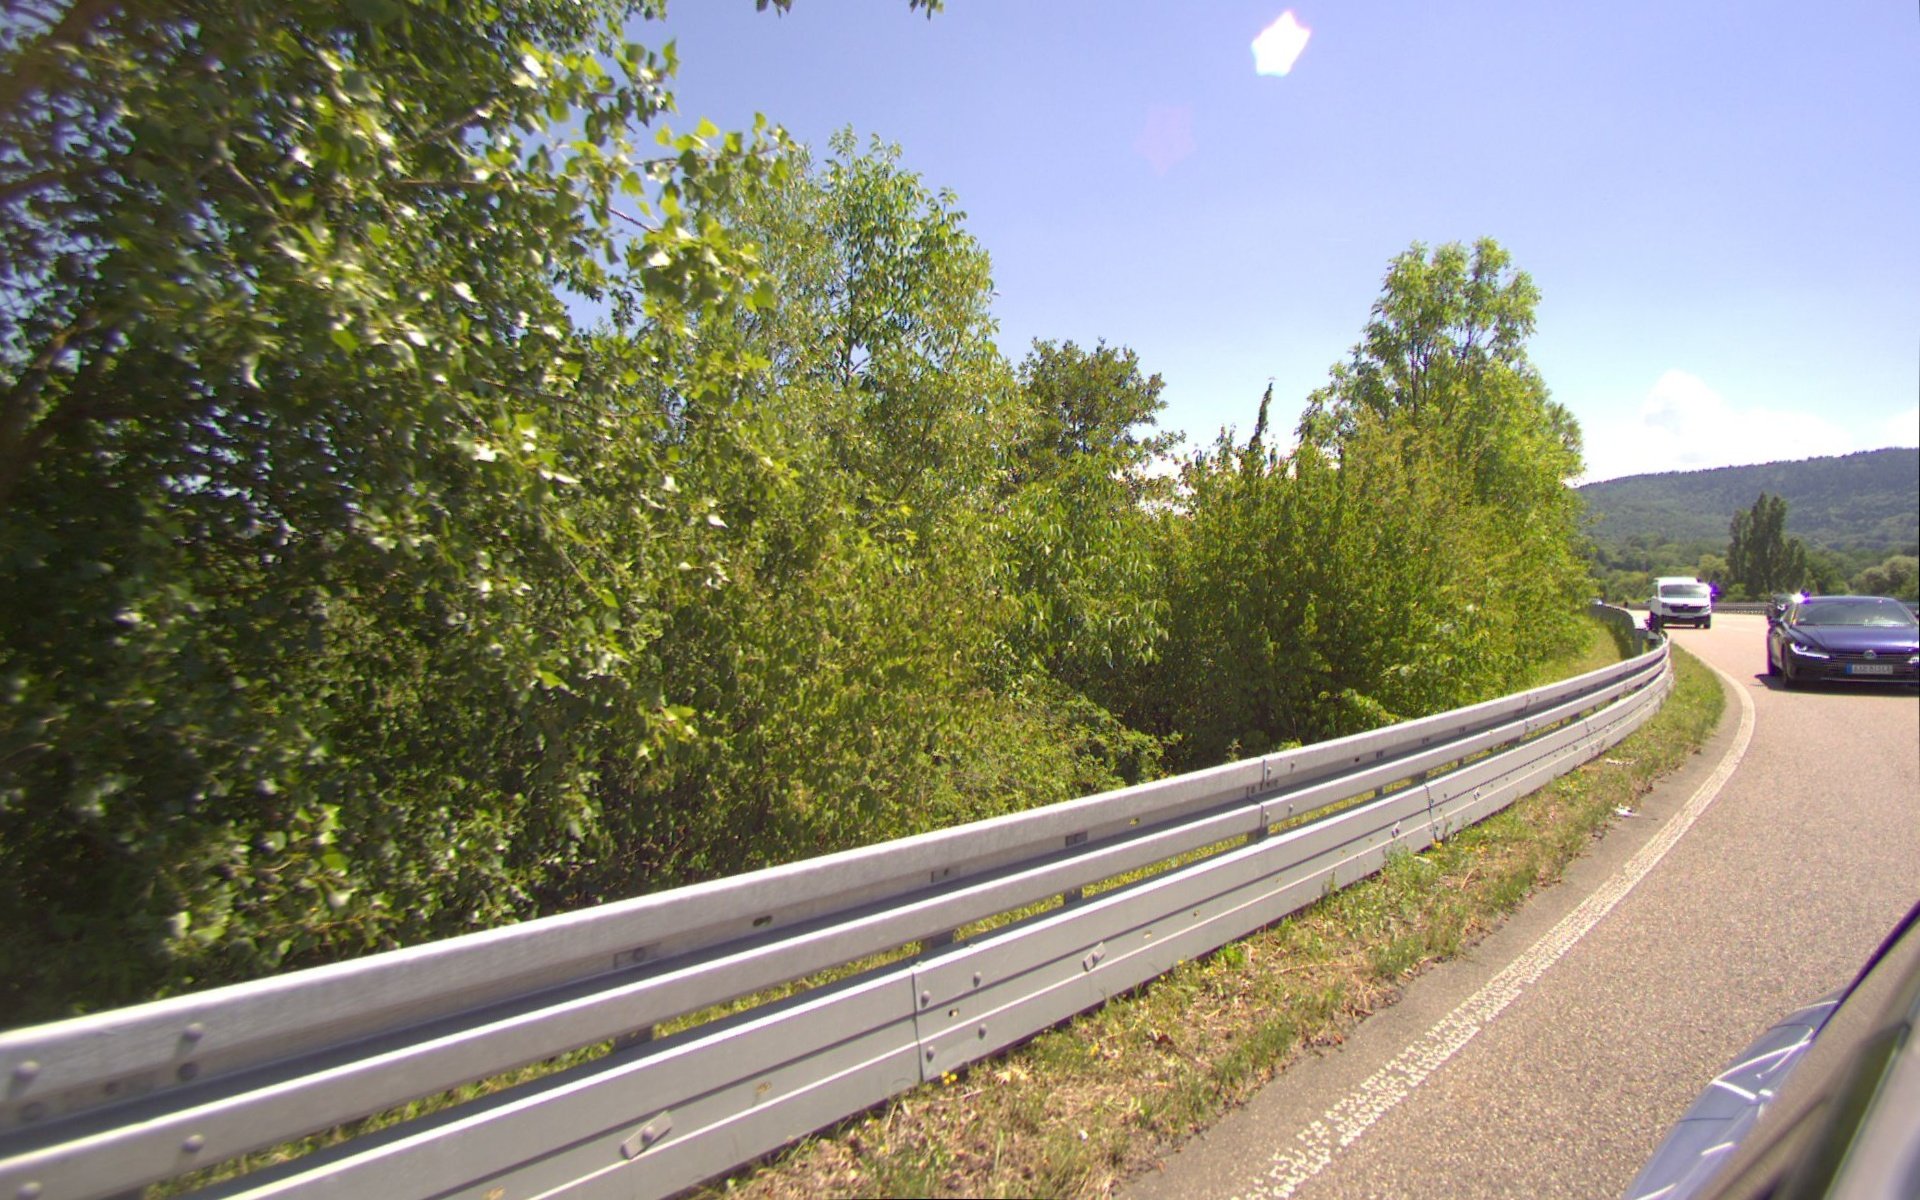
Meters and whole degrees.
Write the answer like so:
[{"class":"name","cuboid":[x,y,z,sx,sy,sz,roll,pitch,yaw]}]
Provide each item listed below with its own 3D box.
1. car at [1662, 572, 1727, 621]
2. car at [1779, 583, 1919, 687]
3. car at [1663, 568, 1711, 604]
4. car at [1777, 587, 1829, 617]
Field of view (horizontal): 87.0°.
[{"class":"car","cuboid":[31.564,-0.160,43.610,1.985,1.975,4.589,-1,0,33]},{"class":"car","cuboid":[14.342,0.481,16.171,1.834,1.448,4.471,0,0,38]},{"class":"car","cuboid":[41.857,-0.768,58.323,1.985,1.975,4.589,-1,0,33]},{"class":"car","cuboid":[48.867,0.121,58.747,1.818,1.632,3.952,-2,-1,33]}]
